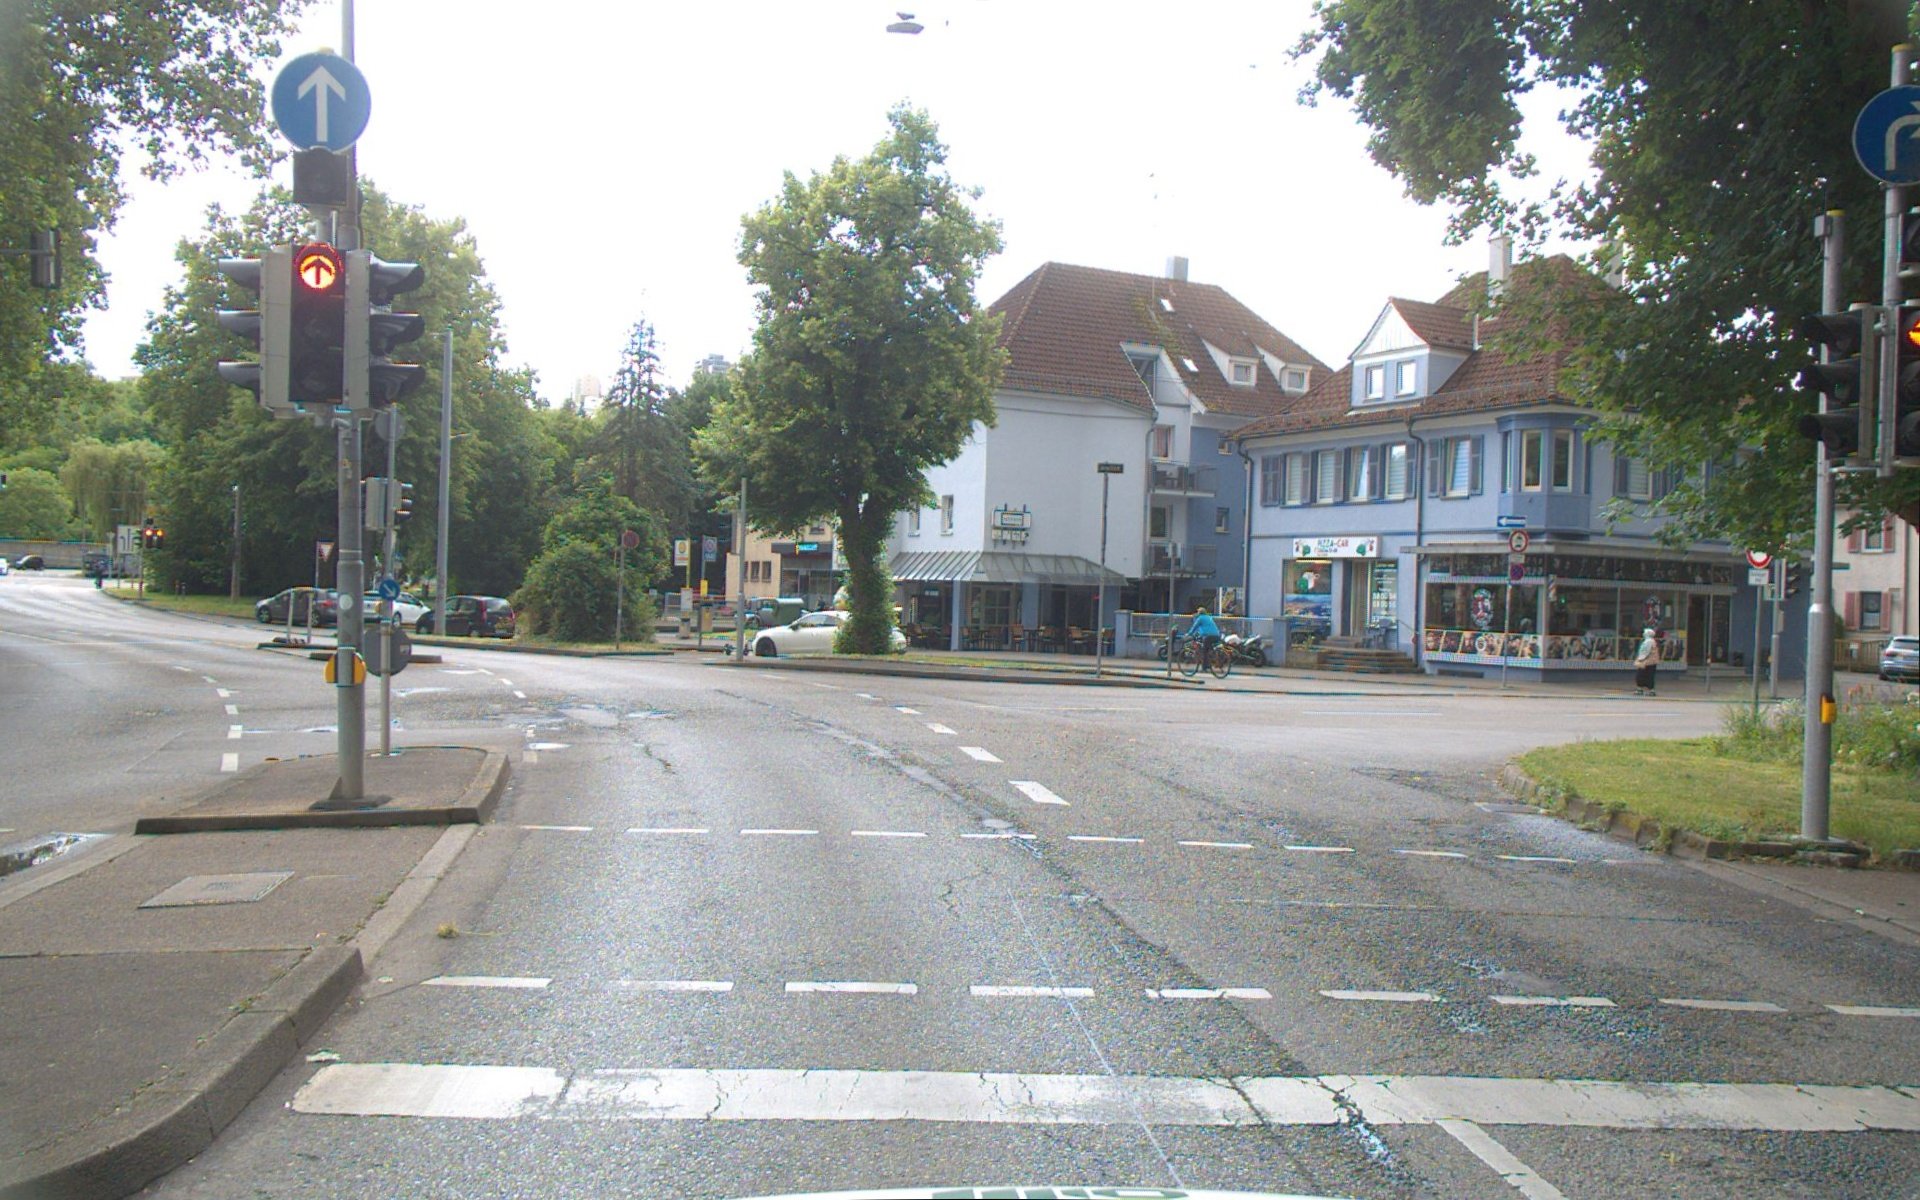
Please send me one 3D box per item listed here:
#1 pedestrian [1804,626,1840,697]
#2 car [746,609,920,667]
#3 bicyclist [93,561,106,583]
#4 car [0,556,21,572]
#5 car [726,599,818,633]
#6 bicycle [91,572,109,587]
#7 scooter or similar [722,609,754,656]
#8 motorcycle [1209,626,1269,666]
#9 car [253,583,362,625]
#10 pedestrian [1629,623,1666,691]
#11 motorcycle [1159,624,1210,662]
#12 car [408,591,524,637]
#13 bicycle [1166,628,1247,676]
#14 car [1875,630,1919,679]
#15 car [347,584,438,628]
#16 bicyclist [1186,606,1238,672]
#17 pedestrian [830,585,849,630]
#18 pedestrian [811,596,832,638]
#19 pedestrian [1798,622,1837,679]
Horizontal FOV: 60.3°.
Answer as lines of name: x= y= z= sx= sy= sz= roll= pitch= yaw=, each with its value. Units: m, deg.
pedestrian: x=19.794 y=1.401 z=37.976 sx=0.681 sy=1.587 sz=0.665 roll=0 pitch=-1 yaw=30
car: x=-3.533 y=1.020 z=45.684 sx=4.618 sy=1.435 sz=1.896 roll=1 pitch=0 yaw=35
bicyclist: x=-55.022 y=-1.778 z=105.760 sx=0.531 sy=1.365 sz=0.711 roll=1 pitch=0 yaw=-15
car: x=-88.741 y=-3.333 z=153.809 sx=2.971 sy=1.442 sz=1.491 roll=0 pitch=-2 yaw=41
car: x=-8.580 y=0.729 z=75.481 sx=3.880 sy=1.467 sz=1.742 roll=1 pitch=0 yaw=-21
bicycle: x=-55.065 y=-1.298 z=105.891 sx=0.547 sy=0.975 sz=2.025 roll=1 pitch=0 yaw=-15
scooter or similar: x=-5.702 y=0.828 z=42.509 sx=0.433 sy=1.195 sz=1.439 roll=1 pitch=0 yaw=8
motorcycle: x=8.166 y=1.337 z=48.460 sx=1.595 sy=1.107 sz=0.625 roll=1 pitch=0 yaw=32
car: x=-25.007 y=0.149 z=63.424 sx=3.695 sy=1.491 sz=1.622 roll=1 pitch=0 yaw=18
pedestrian: x=16.408 y=1.343 z=39.451 sx=0.717 sy=1.587 sz=0.767 roll=0 pitch=-1 yaw=30
motorcycle: x=6.813 y=1.286 z=50.210 sx=1.430 sy=1.107 sz=0.522 roll=1 pitch=0 yaw=35
car: x=-15.915 y=0.445 z=53.265 sx=3.252 sy=1.376 sz=1.778 roll=1 pitch=0 yaw=27
bicycle: x=6.402 y=1.349 z=42.951 sx=1.918 sy=1.169 sz=0.871 roll=1 pitch=0 yaw=42
car: x=29.697 y=1.687 z=51.688 sx=1.849 sy=1.415 sz=3.608 roll=1 pitch=0 yaw=28
car: x=-22.732 y=0.255 z=66.406 sx=1.821 sy=1.668 sz=3.757 roll=1 pitch=0 yaw=10
bicyclist: x=6.523 y=1.001 z=42.853 sx=0.971 sy=1.680 sz=0.913 roll=1 pitch=0 yaw=41
pedestrian: x=-4.301 y=0.271 z=59.155 sx=0.531 sy=1.587 sz=0.468 roll=0 pitch=-1 yaw=13
pedestrian: x=-6.790 y=0.820 z=80.810 sx=0.823 sy=2.049 sz=1.052 roll=1 pitch=0 yaw=-15
pedestrian: x=24.069 y=1.408 z=46.428 sx=0.659 sy=1.587 sz=0.743 roll=1 pitch=-1 yaw=-15
